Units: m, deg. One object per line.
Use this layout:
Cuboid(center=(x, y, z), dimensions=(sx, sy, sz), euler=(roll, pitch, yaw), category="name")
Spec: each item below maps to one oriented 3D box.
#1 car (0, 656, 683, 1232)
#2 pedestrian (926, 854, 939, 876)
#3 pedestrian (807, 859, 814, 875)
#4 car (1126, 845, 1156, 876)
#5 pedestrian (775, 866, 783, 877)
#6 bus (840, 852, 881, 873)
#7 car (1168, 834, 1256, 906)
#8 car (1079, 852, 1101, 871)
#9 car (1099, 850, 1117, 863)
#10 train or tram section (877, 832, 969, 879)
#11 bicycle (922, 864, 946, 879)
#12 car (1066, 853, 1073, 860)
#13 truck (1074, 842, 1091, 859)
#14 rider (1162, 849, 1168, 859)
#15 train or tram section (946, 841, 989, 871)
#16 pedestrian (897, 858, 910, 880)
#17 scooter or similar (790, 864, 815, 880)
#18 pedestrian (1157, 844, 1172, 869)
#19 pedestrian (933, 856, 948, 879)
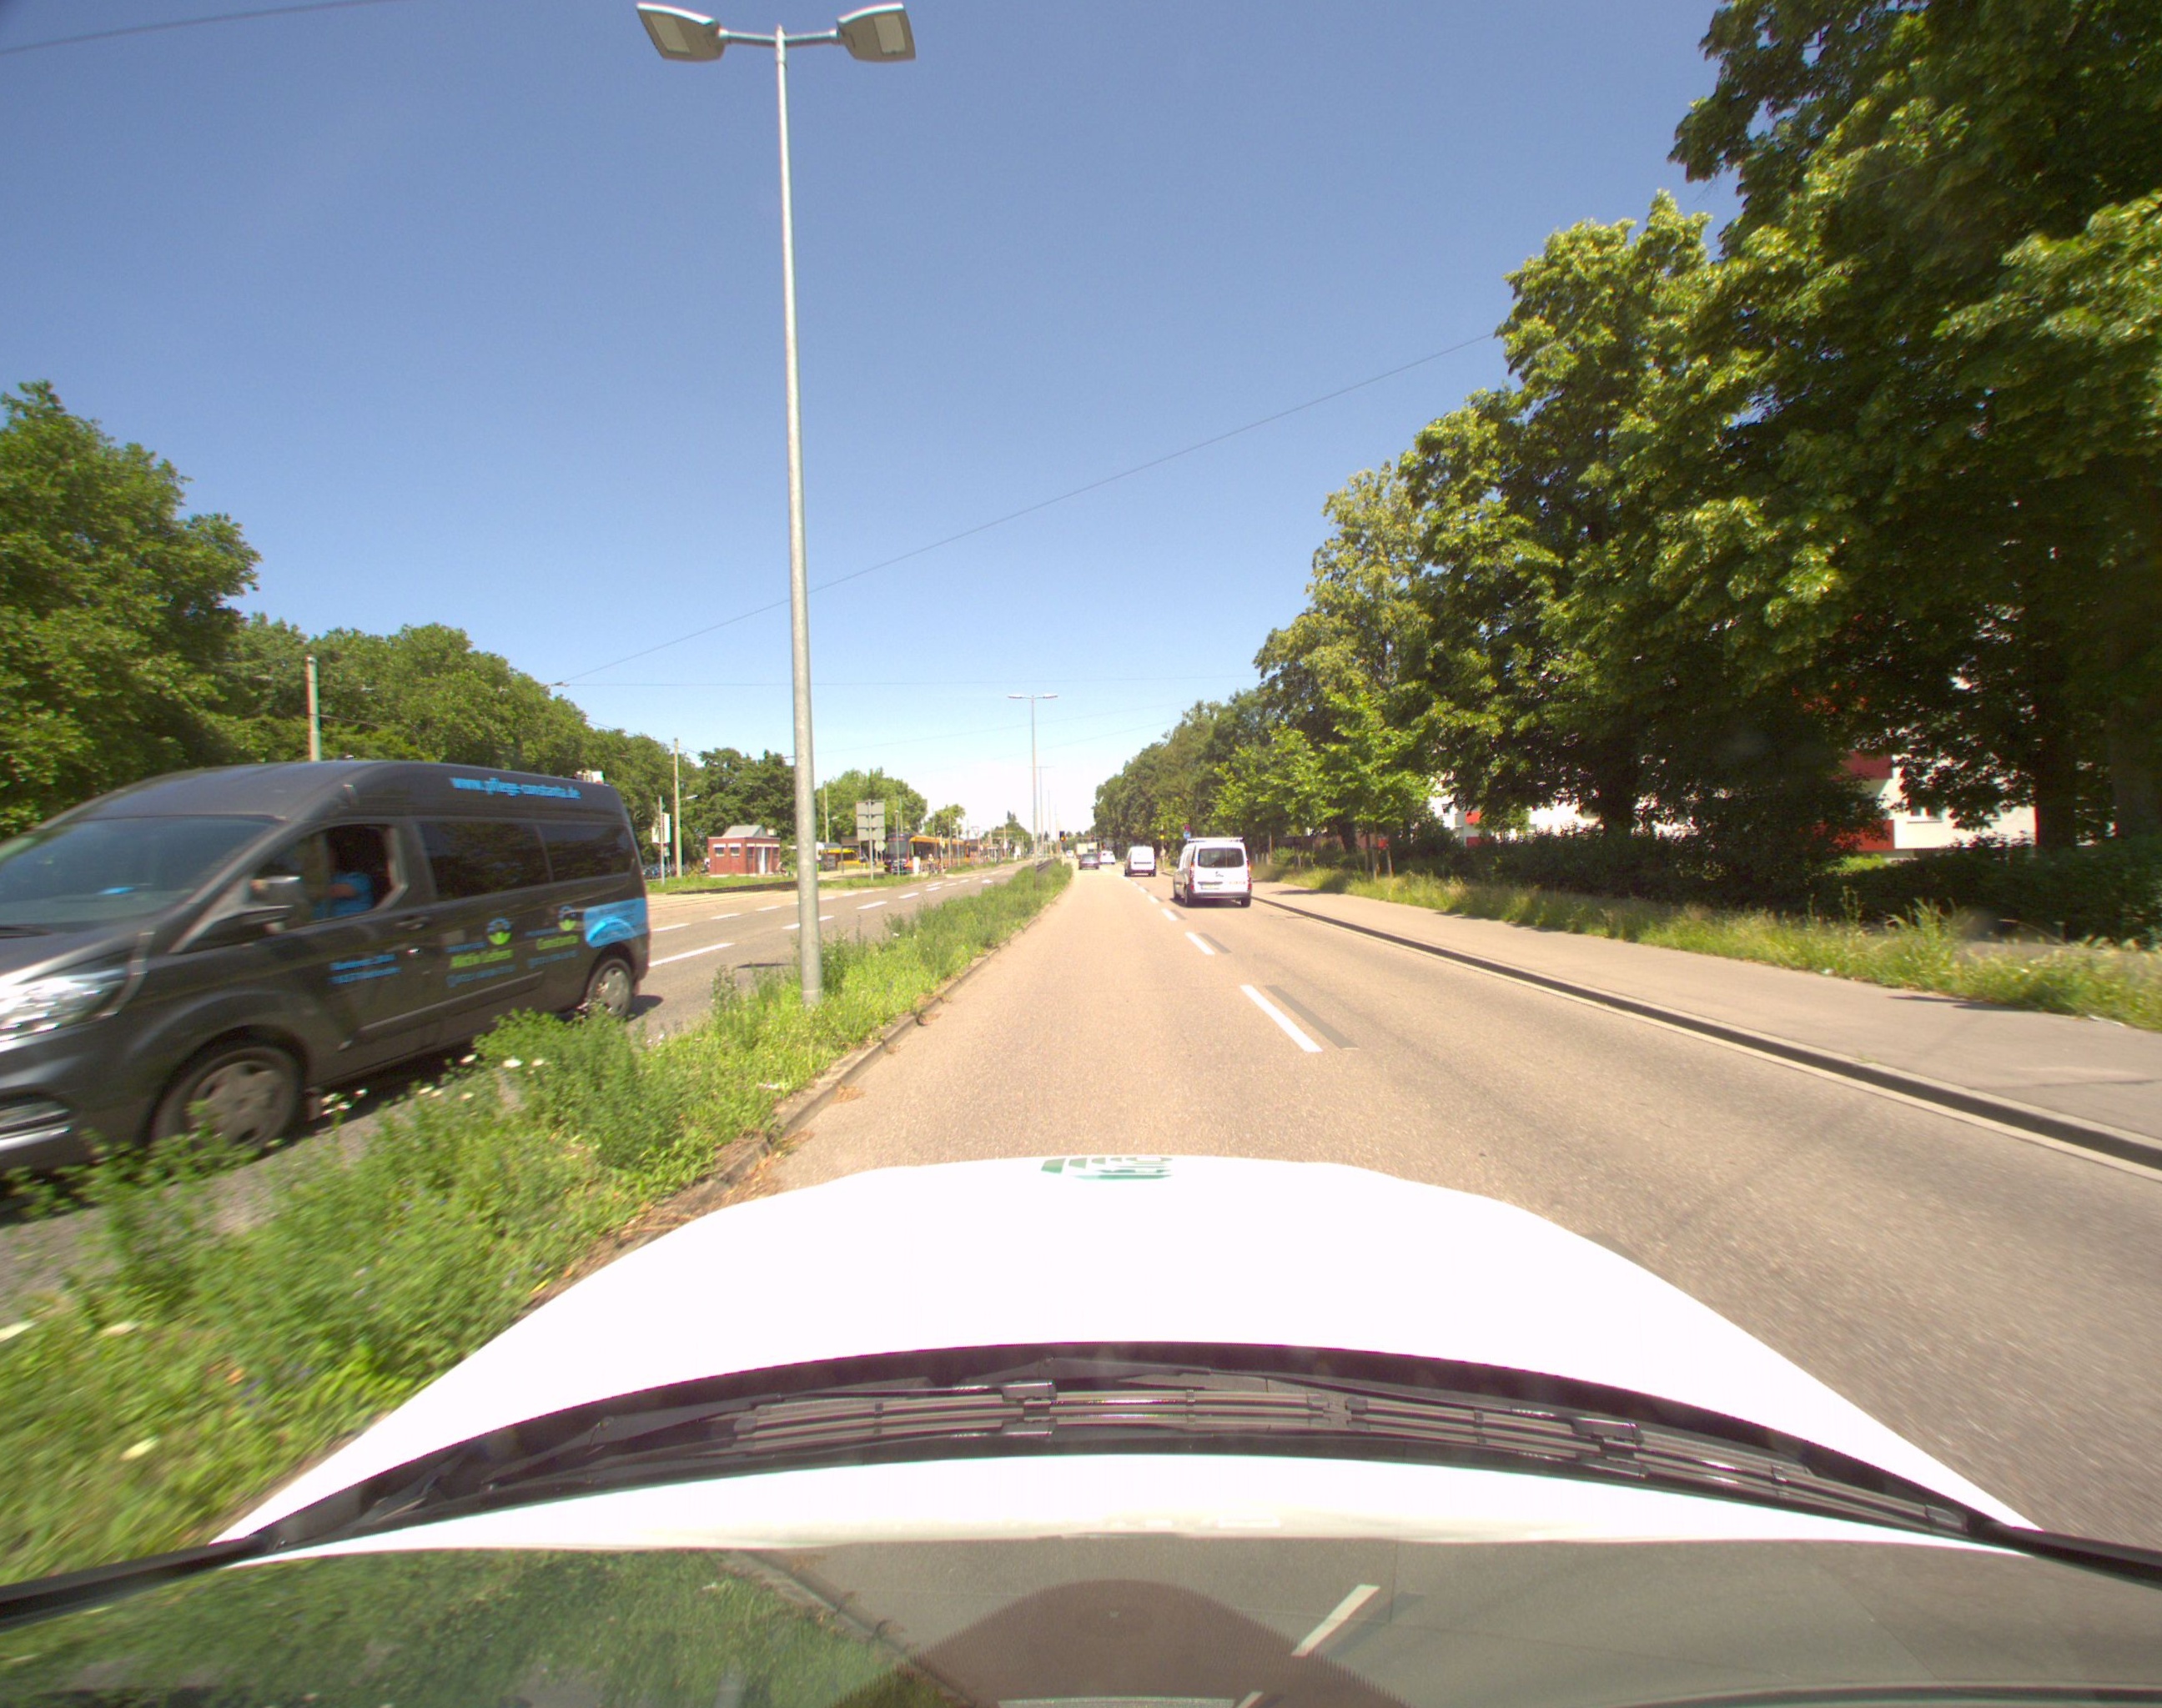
Cuboid(center=(-5.331, 0.406, 6.029), dimensions=(1.987, 2.366, 5.372), euler=(-3, 0, 0), category="car")
Cuboid(center=(-11.472, 0.853, 63.096), dimensions=(0.815, 1.628, 0.706), euler=(-1, 0, 4), category="pedestrian")
Cuboid(center=(-25.590, 1.236, 76.961), dimensions=(0.460, 1.436, 0.524), euler=(-1, -1, -3), category="pedestrian")
Cuboid(center=(3.625, 0.353, 49.775), dimensions=(1.721, 1.814, 4.002), euler=(0, 0, 2), category="car")
Cuboid(center=(-27.161, 1.559, 73.225), dimensions=(0.480, 1.018, 0.522), euler=(-1, 0, 1), category="pedestrian")
Cuboid(center=(-40.038, 1.592, 147.926), dimensions=(7.465, 3.566, 2.011), euler=(-1, 0, 24), category="bus")
Cuboid(center=(3.669, 0.428, 23.550), dimensions=(1.818, 1.882, 4.454), euler=(0, 0, 0), category="car")
Cuboid(center=(0.776, 0.627, 70.445), dimensions=(1.796, 1.486, 3.999), euler=(-1, 0, -1), category="car")
Cuboid(center=(3.114, 0.291, 94.574), dimensions=(1.798, 1.540, 3.997), euler=(-1, 0, -2), category="car")
Cuboid(center=(-15.147, 0.202, 83.532), dimensions=(2.780, 3.668, 37.498), euler=(-1, 0, -1), category="train or tram section")
Cuboid(center=(-11.378, 1.339, 63.064), dimensions=(1.855, 1.157, 0.243), euler=(-1, -1, 3), category="bicycle")
Cuboid(center=(-3.073, 0.638, 216.502), dimensions=(1.683, 1.897, 3.868), euler=(-1, 0, -1), category="car")
Cuboid(center=(0.277, -0.833, 200.231), dimensions=(3.888, 3.813, 10.786), euler=(-1, 0, -1), category="truck")
Cuboid(center=(10.624, 0.013, 103.532), dimensions=(0.676, 1.281, 0.533), euler=(-1, 0, -2), category="rider")
Cuboid(center=(-15.692, 0.329, 115.272), dimensions=(2.780, 3.668, 25.985), euler=(-1, 0, -1), category="train or tram section")
Cuboid(center=(-12.723, 1.067, 58.429), dimensions=(0.541, 1.541, 0.859), euler=(-1, 0, -42), category="pedestrian")
Cuboid(center=(-20.773, 1.340, 60.715), dimensions=(0.605, 1.127, 1.684), euler=(-2, -1, 43), category="scooter or similar")
Cuboid(center=(6.246, 0.177, 61.023), dimensions=(1.040, 1.850, 0.759), euler=(-1, -1, 10), category="pedestrian")
Cuboid(center=(-11.194, 1.050, 64.917), dimensions=(0.949, 1.797, 0.709), euler=(-1, -1, 28), category="pedestrian")
